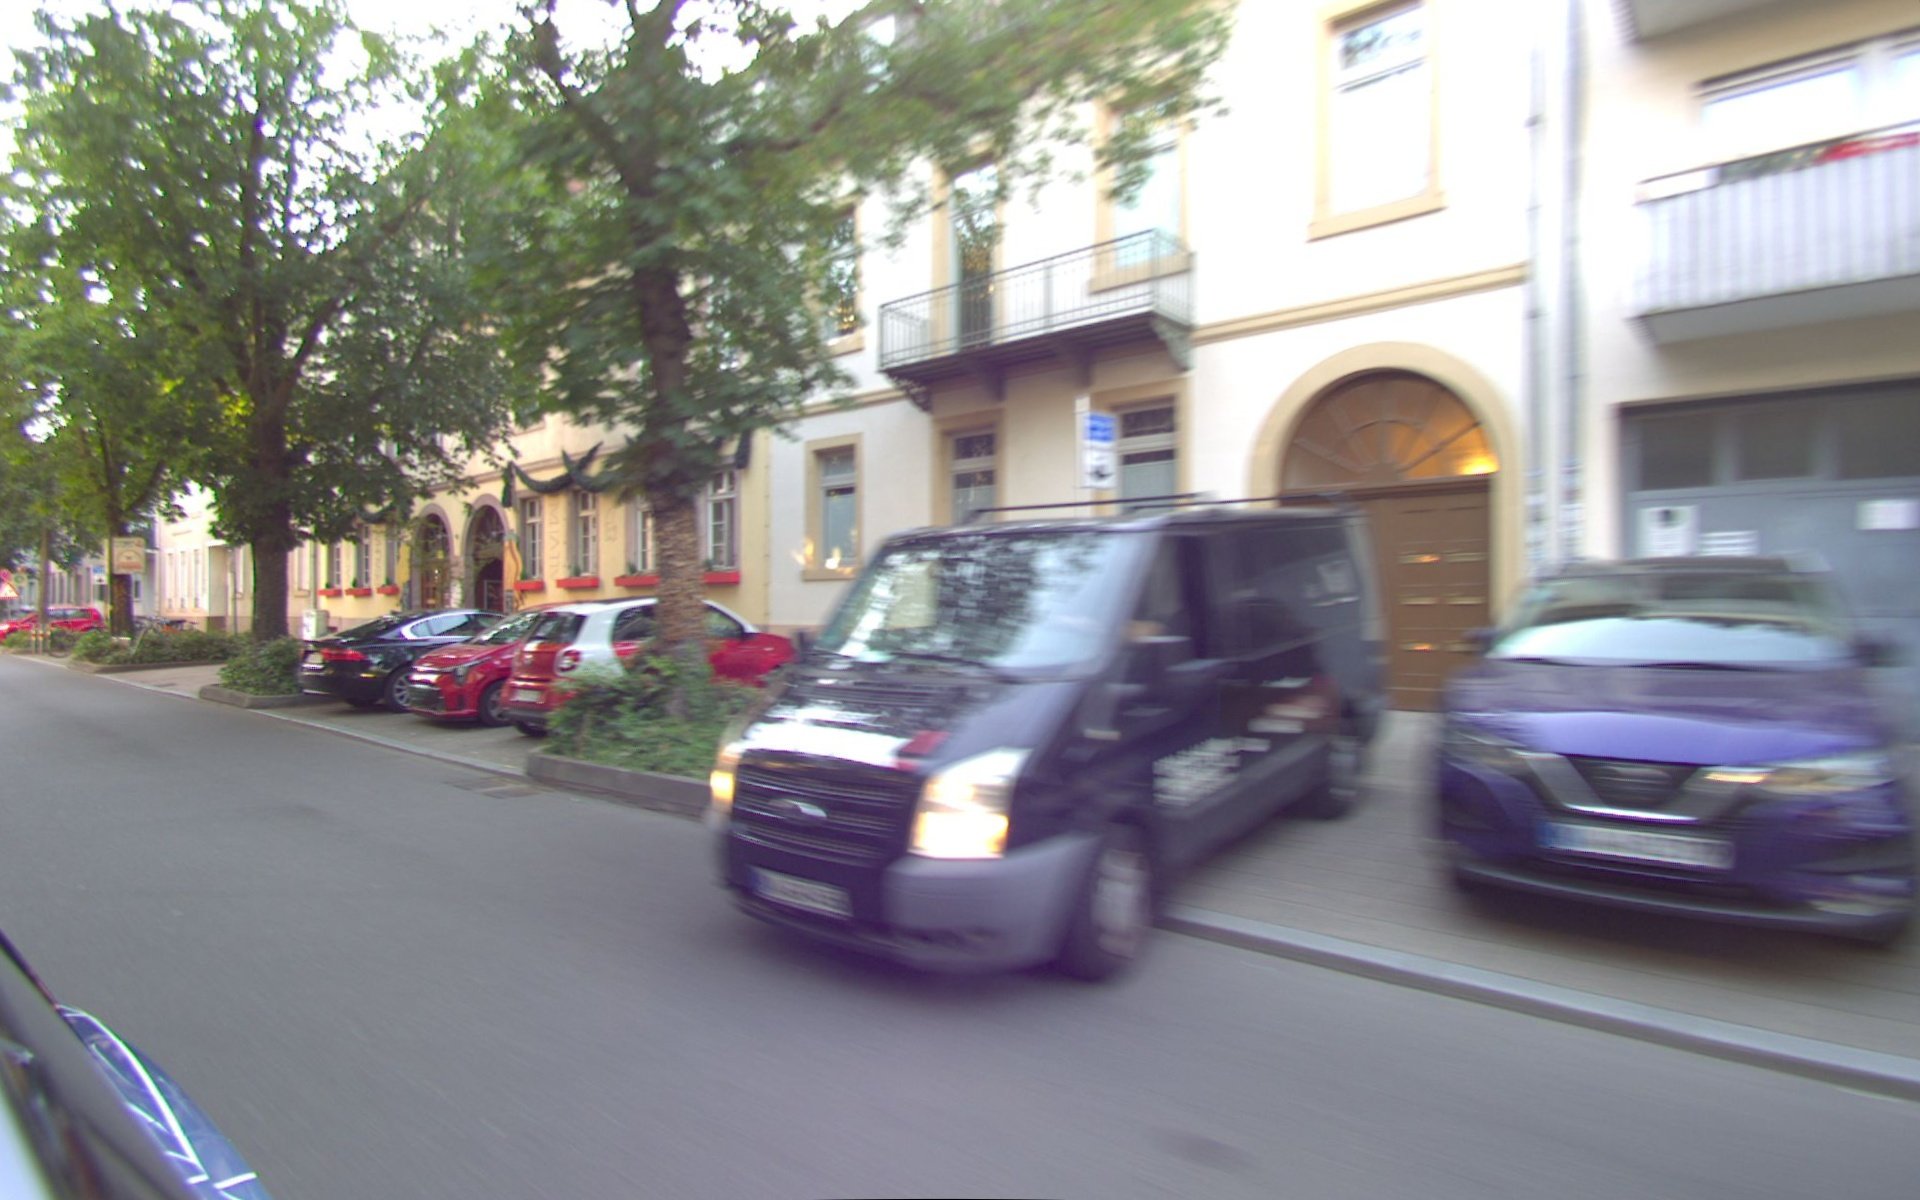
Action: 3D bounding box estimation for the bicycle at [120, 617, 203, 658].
[{"bbox_3d":[-23.694,1.098,30.069,0.508,1.107,1.848,0,1,34],"label":"bicycle"}]

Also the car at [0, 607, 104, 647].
[{"bbox_3d":[-36.719,1.055,40.493,1.671,1.416,3.455,-1,1,38],"label":"car"}]

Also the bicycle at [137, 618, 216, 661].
[{"bbox_3d":[-22.129,1.091,28.597,0.479,1.107,1.692,0,1,34],"label":"bicycle"}]

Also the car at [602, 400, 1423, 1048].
[{"bbox_3d":[0.809,0.341,5.761,2.187,2.005,4.942,-1,1,38],"label":"car"}]

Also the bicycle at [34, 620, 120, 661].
[{"bbox_3d":[-26.081,1.172,29.913,0.479,1.106,1.848,0,1,34],"label":"bicycle"}]

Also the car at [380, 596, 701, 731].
[{"bbox_3d":[-5.557,0.739,13.723,1.658,1.460,3.647,-1,1,40],"label":"car"}]

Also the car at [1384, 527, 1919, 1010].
[{"bbox_3d":[3.980,0.468,5.417,1.929,1.584,4.310,-1,2,40],"label":"car"}]

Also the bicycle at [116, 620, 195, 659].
[{"bbox_3d":[-25.067,1.224,31.562,0.479,1.107,1.848,0,1,34],"label":"bicycle"}]

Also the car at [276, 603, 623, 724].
[{"bbox_3d":[-7.497,0.819,15.288,1.715,1.417,4.384,1,2,37],"label":"car"}]

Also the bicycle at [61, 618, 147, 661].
[{"bbox_3d":[-24.905,1.140,29.468,0.479,1.153,1.848,0,1,34],"label":"bicycle"}]

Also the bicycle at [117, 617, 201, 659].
[{"bbox_3d":[-23.286,1.088,29.453,0.479,1.107,1.848,0,1,34],"label":"bicycle"}]

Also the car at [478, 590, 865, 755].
[{"bbox_3d":[-3.344,0.710,12.461,1.771,1.550,4.310,1,2,40],"label":"car"}]

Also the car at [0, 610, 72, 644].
[{"bbox_3d":[-43.267,1.256,46.430,1.588,1.430,3.510,-1,1,38],"label":"car"}]
